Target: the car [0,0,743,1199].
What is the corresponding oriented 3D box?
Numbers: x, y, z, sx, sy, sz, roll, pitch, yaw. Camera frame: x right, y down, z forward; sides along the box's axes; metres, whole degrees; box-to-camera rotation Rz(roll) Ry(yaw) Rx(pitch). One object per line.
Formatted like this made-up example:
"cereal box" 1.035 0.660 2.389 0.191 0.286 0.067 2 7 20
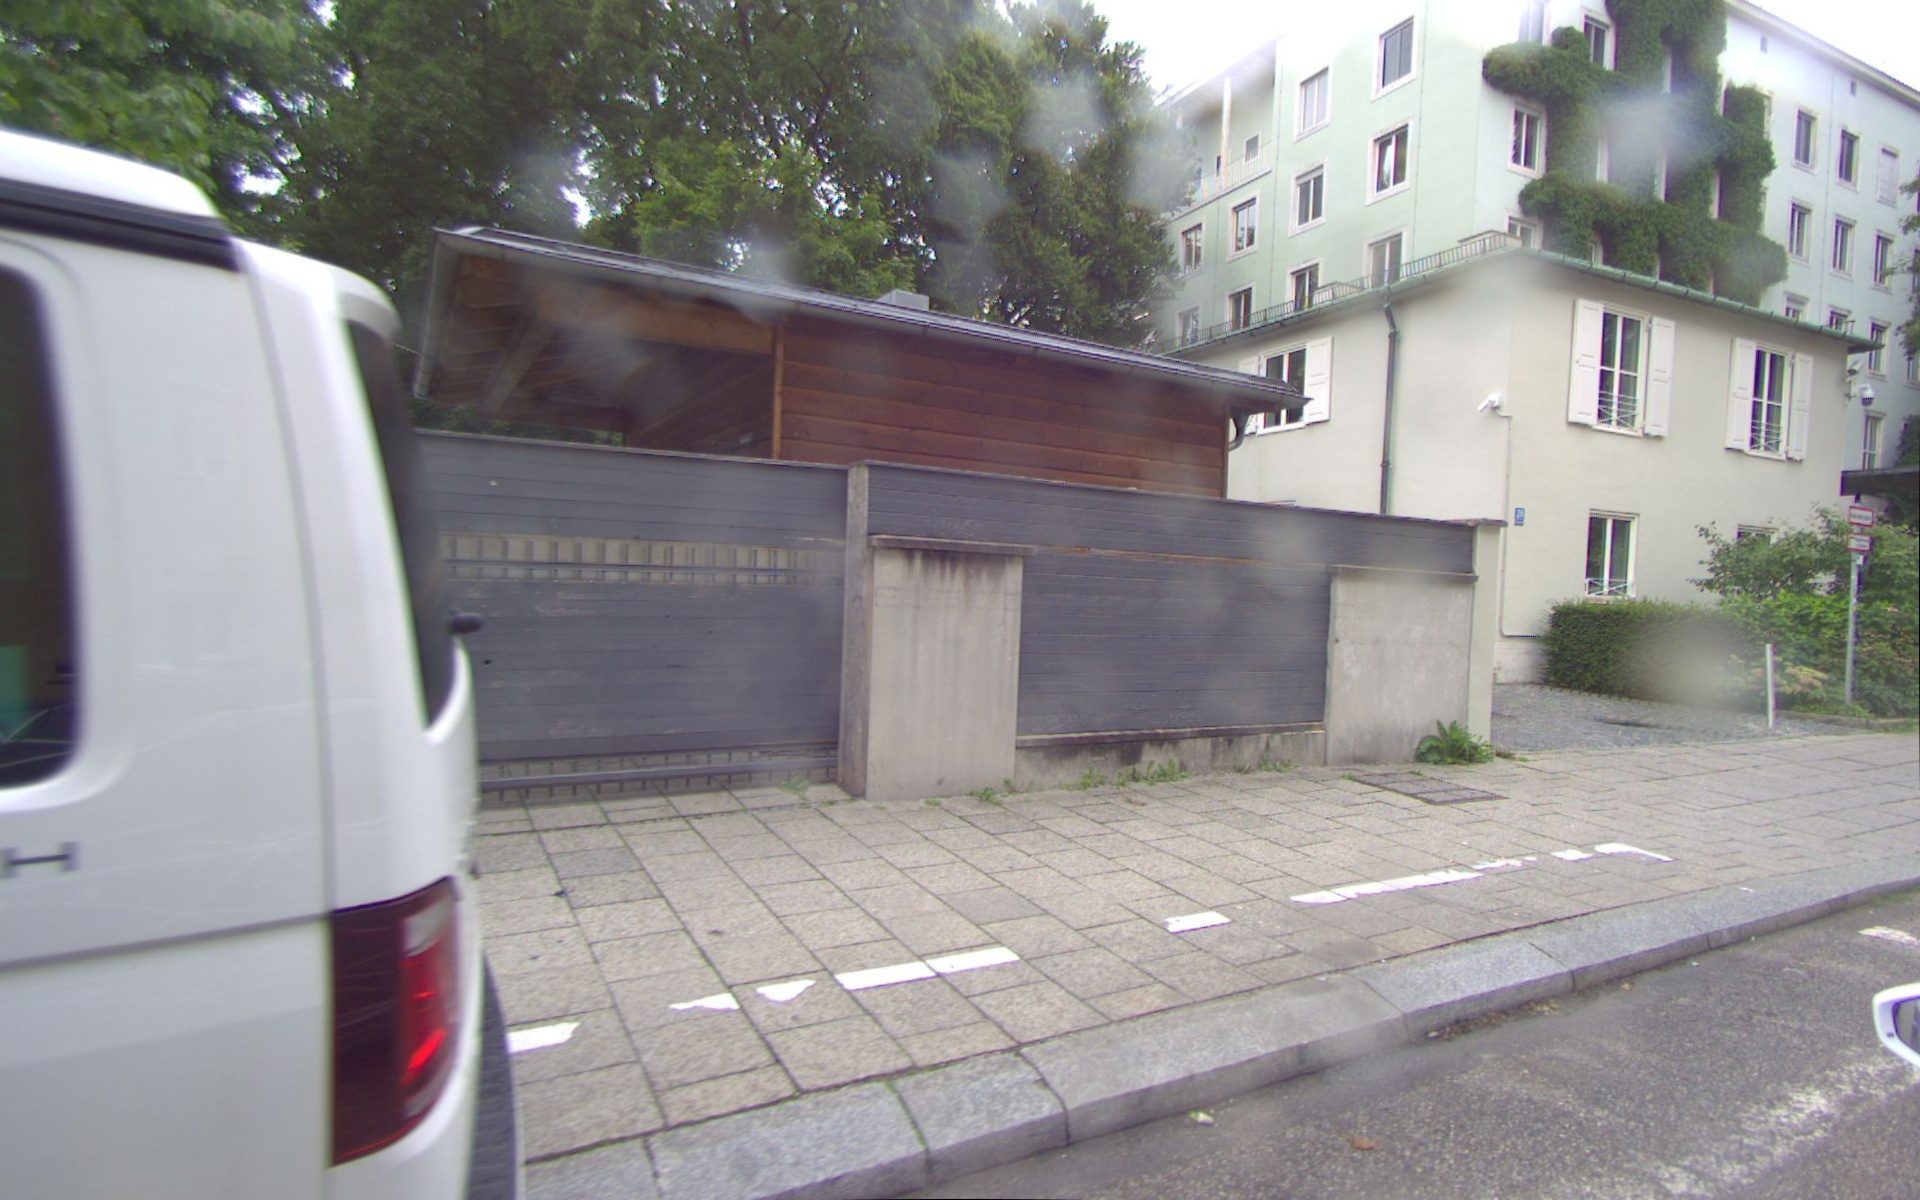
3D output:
"car" -2.988 0.324 0.835 5.093 2.017 1.956 2 3 -32
